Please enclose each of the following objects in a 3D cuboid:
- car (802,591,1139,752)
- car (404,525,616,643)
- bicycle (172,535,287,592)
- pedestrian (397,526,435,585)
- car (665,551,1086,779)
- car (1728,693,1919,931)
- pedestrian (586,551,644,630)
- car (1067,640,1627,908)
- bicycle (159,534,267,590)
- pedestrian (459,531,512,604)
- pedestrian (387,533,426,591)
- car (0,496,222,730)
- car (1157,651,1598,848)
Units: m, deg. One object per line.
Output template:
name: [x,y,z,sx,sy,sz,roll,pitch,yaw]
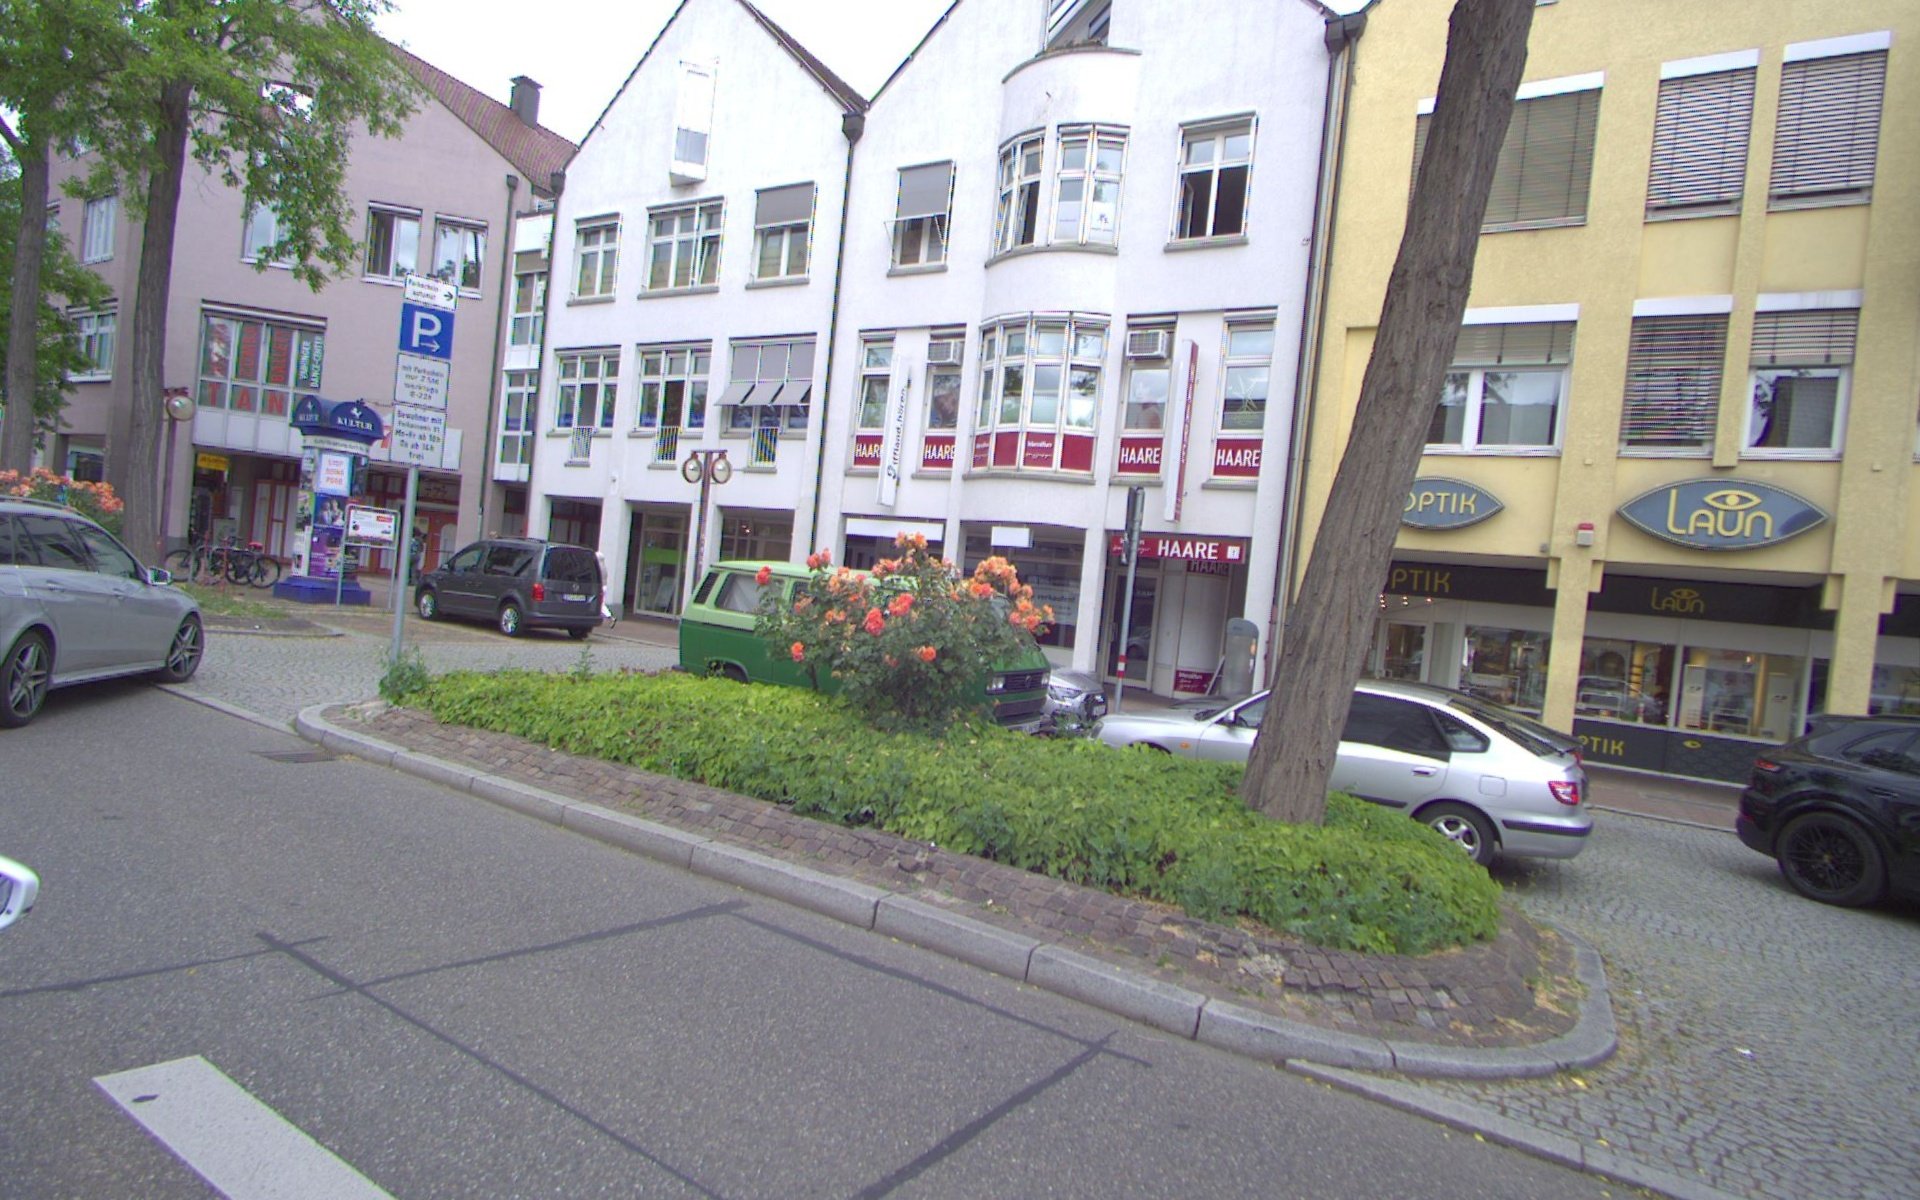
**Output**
car: [0.100,0.909,14.210,4.320,1.562,1.798,7,1,30]
car: [-8.927,-0.328,19.907,3.898,1.855,1.640,7,1,27]
bicycle: [-15.755,-0.767,21.752,0.460,1.009,1.901,7,0,36]
pedestrian: [-15.586,-1.268,28.831,0.611,1.583,0.664,7,0,-5]
car: [-1.068,0.625,11.817,4.527,1.900,1.882,7,1,30]
car: [8.755,1.886,7.337,1.832,1.692,4.641,6,1,-20]
pedestrian: [-7.733,-0.210,22.546,0.805,1.682,0.789,7,3,31]
car: [3.399,1.387,9.288,4.344,1.468,1.765,7,0,30]
bicycle: [-16.269,-0.811,21.957,0.440,1.009,1.769,7,0,36]
pedestrian: [-12.565,-0.852,26.665,0.805,1.815,0.790,7,1,31]
pedestrian: [-15.474,-1.049,28.128,0.611,1.534,0.611,7,0,-6]
car: [-7.281,-0.041,7.310,1.796,1.465,4.351,8,-2,-20]
car: [4.787,1.570,11.816,4.344,1.394,1.999,7,1,30]
